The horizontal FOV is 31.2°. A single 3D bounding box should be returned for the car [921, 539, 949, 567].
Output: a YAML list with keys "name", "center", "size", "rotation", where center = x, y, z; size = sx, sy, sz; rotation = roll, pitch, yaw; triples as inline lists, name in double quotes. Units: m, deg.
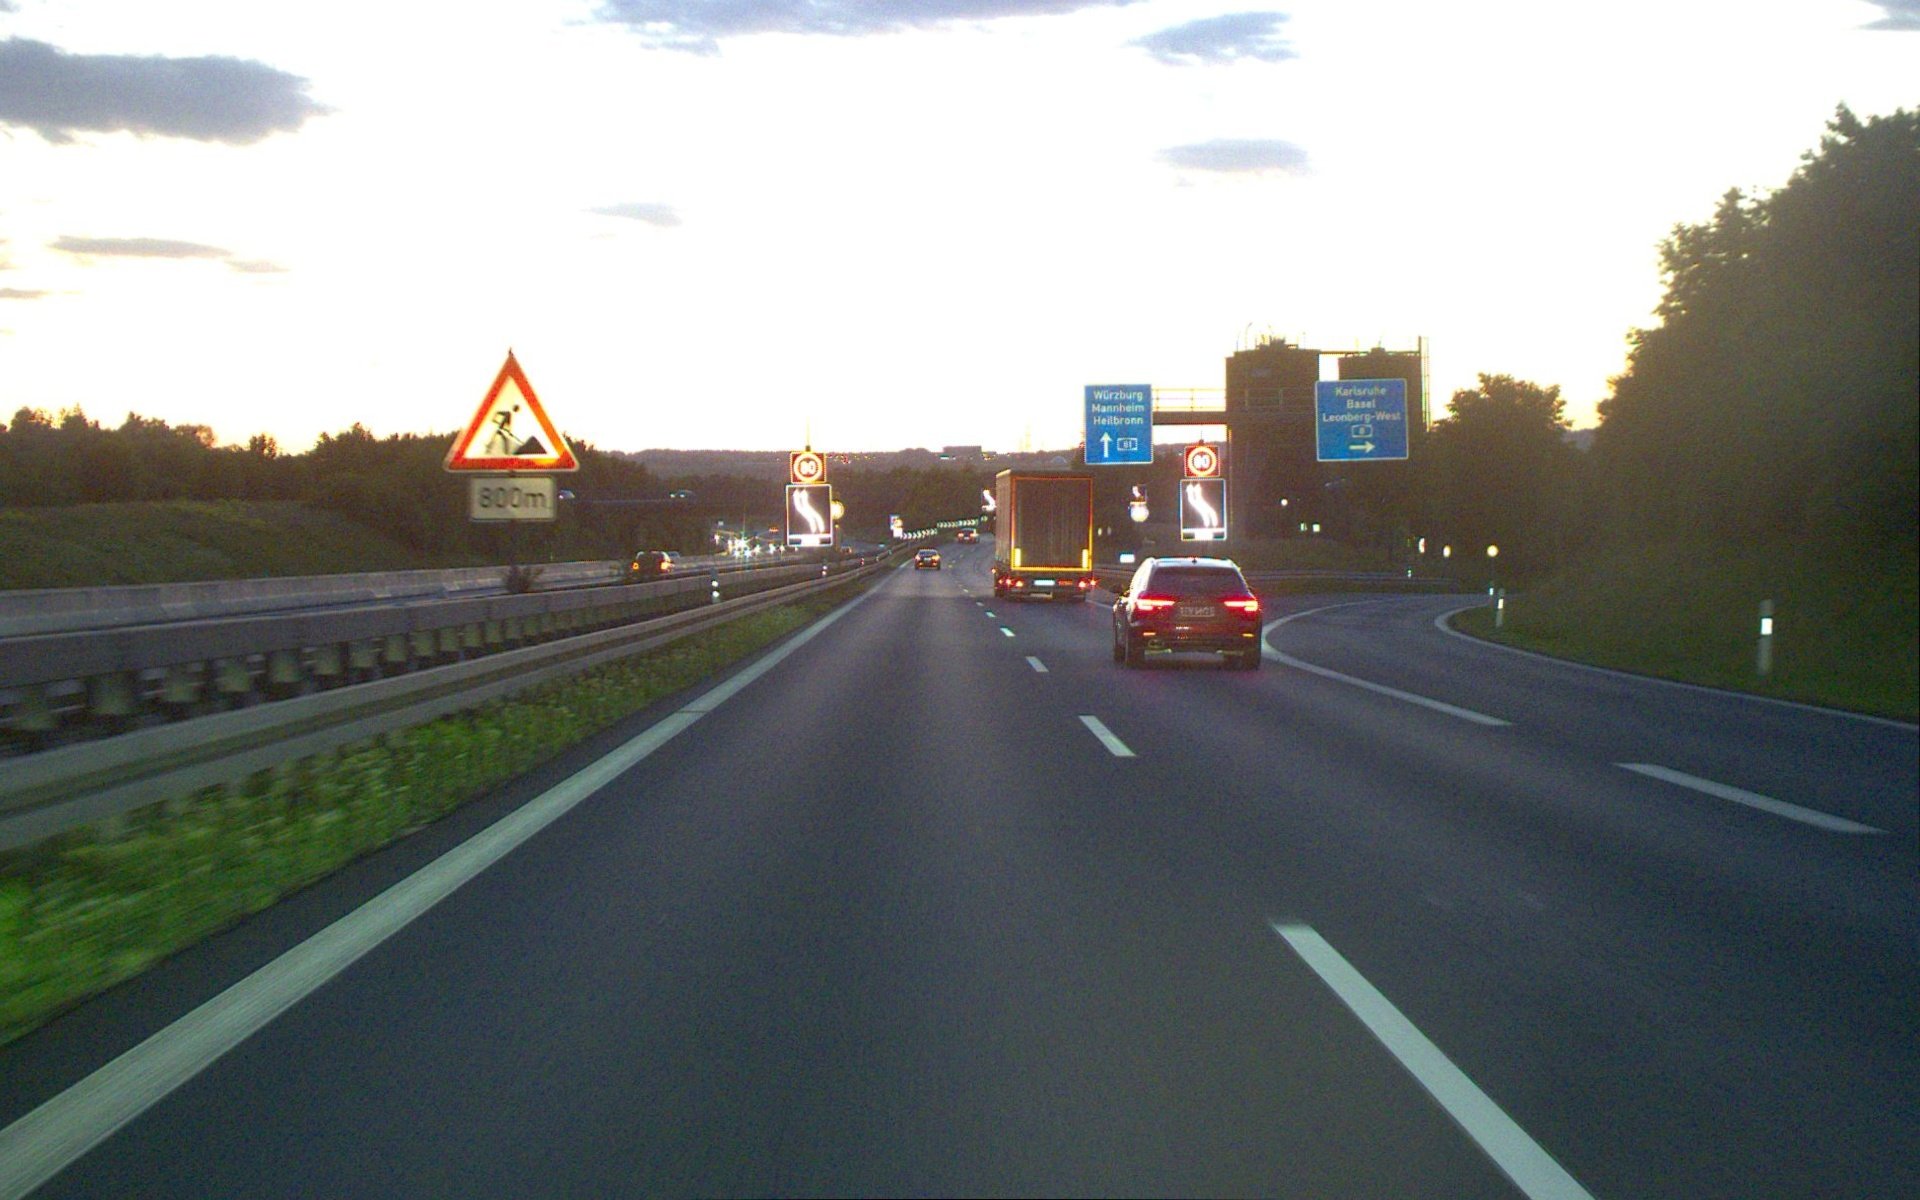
- name: "car"
  center: [-1.806, -3.458, 251.587]
  size: [1.993, 2.007, 4.000]
  rotation: [-1, 1, -1]

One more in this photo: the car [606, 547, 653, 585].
- name: "car"
  center: [-14.712, -1.515, 153.127]
  size: [1.713, 1.600, 3.722]
  rotation: [-1, 1, 0]

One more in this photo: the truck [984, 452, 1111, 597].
- name: "truck"
  center: [2.662, -2.327, 108.439]
  size: [3.509, 4.286, 9.892]
  rotation: [-1, 1, -1]

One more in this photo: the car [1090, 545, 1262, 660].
- name: "car"
  center: [2.866, 0.005, 46.361]
  size: [1.915, 1.437, 4.000]
  rotation: [-1, 1, -2]
